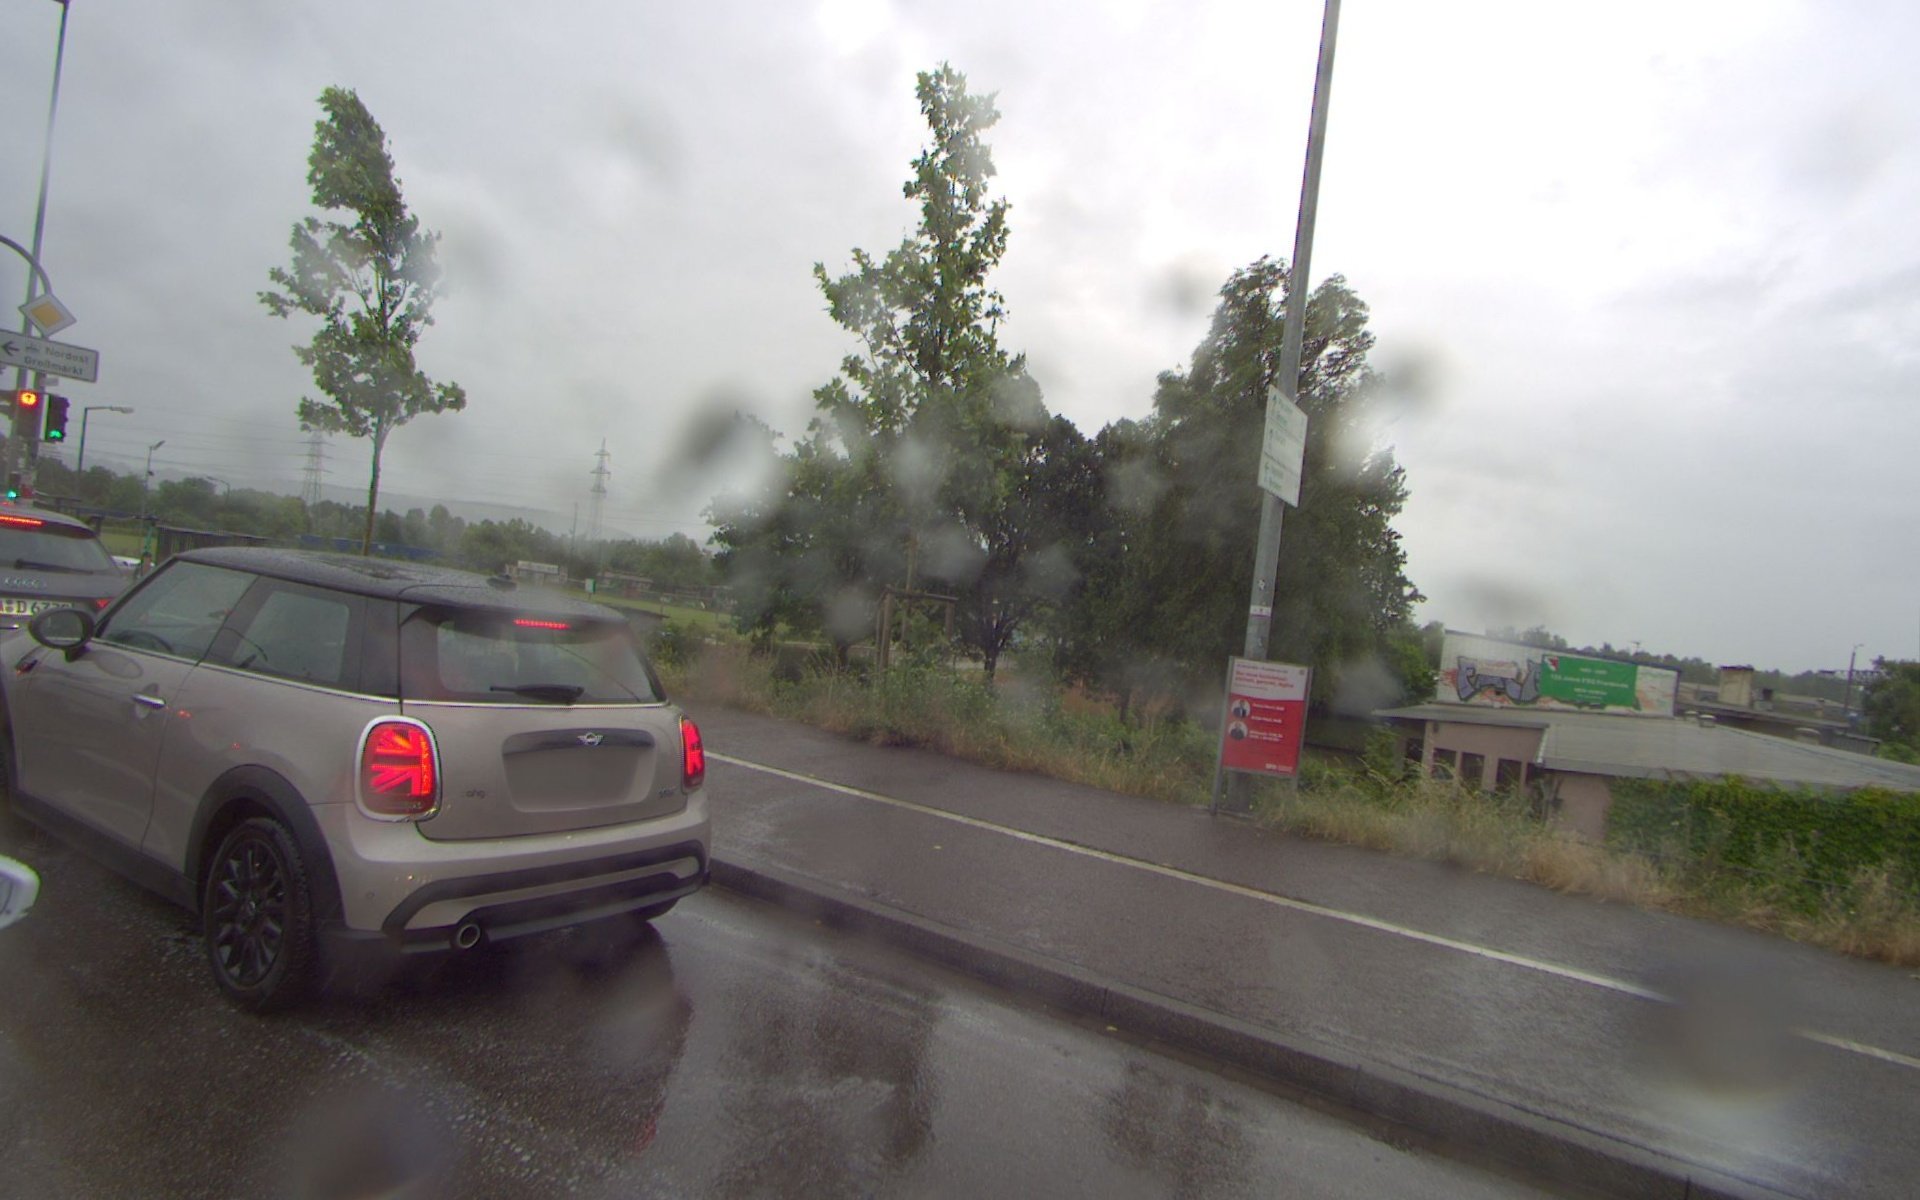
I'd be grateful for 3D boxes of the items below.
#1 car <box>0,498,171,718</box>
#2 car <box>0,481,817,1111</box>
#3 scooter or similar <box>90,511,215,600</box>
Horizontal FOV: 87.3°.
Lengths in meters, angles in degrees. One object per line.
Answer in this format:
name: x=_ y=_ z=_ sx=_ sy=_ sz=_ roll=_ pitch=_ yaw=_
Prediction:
car: x=-7.541 y=-0.083 z=7.266 sx=3.569 sy=1.383 sz=1.600 roll=5 pitch=-1 yaw=30
car: x=-2.729 y=0.481 z=4.334 sx=3.815 sy=1.524 sz=1.707 roll=7 pitch=-4 yaw=32
scooter or similar: x=-13.881 y=-0.792 z=17.252 sx=2.971 sy=1.226 sz=0.691 roll=7 pitch=0 yaw=33
